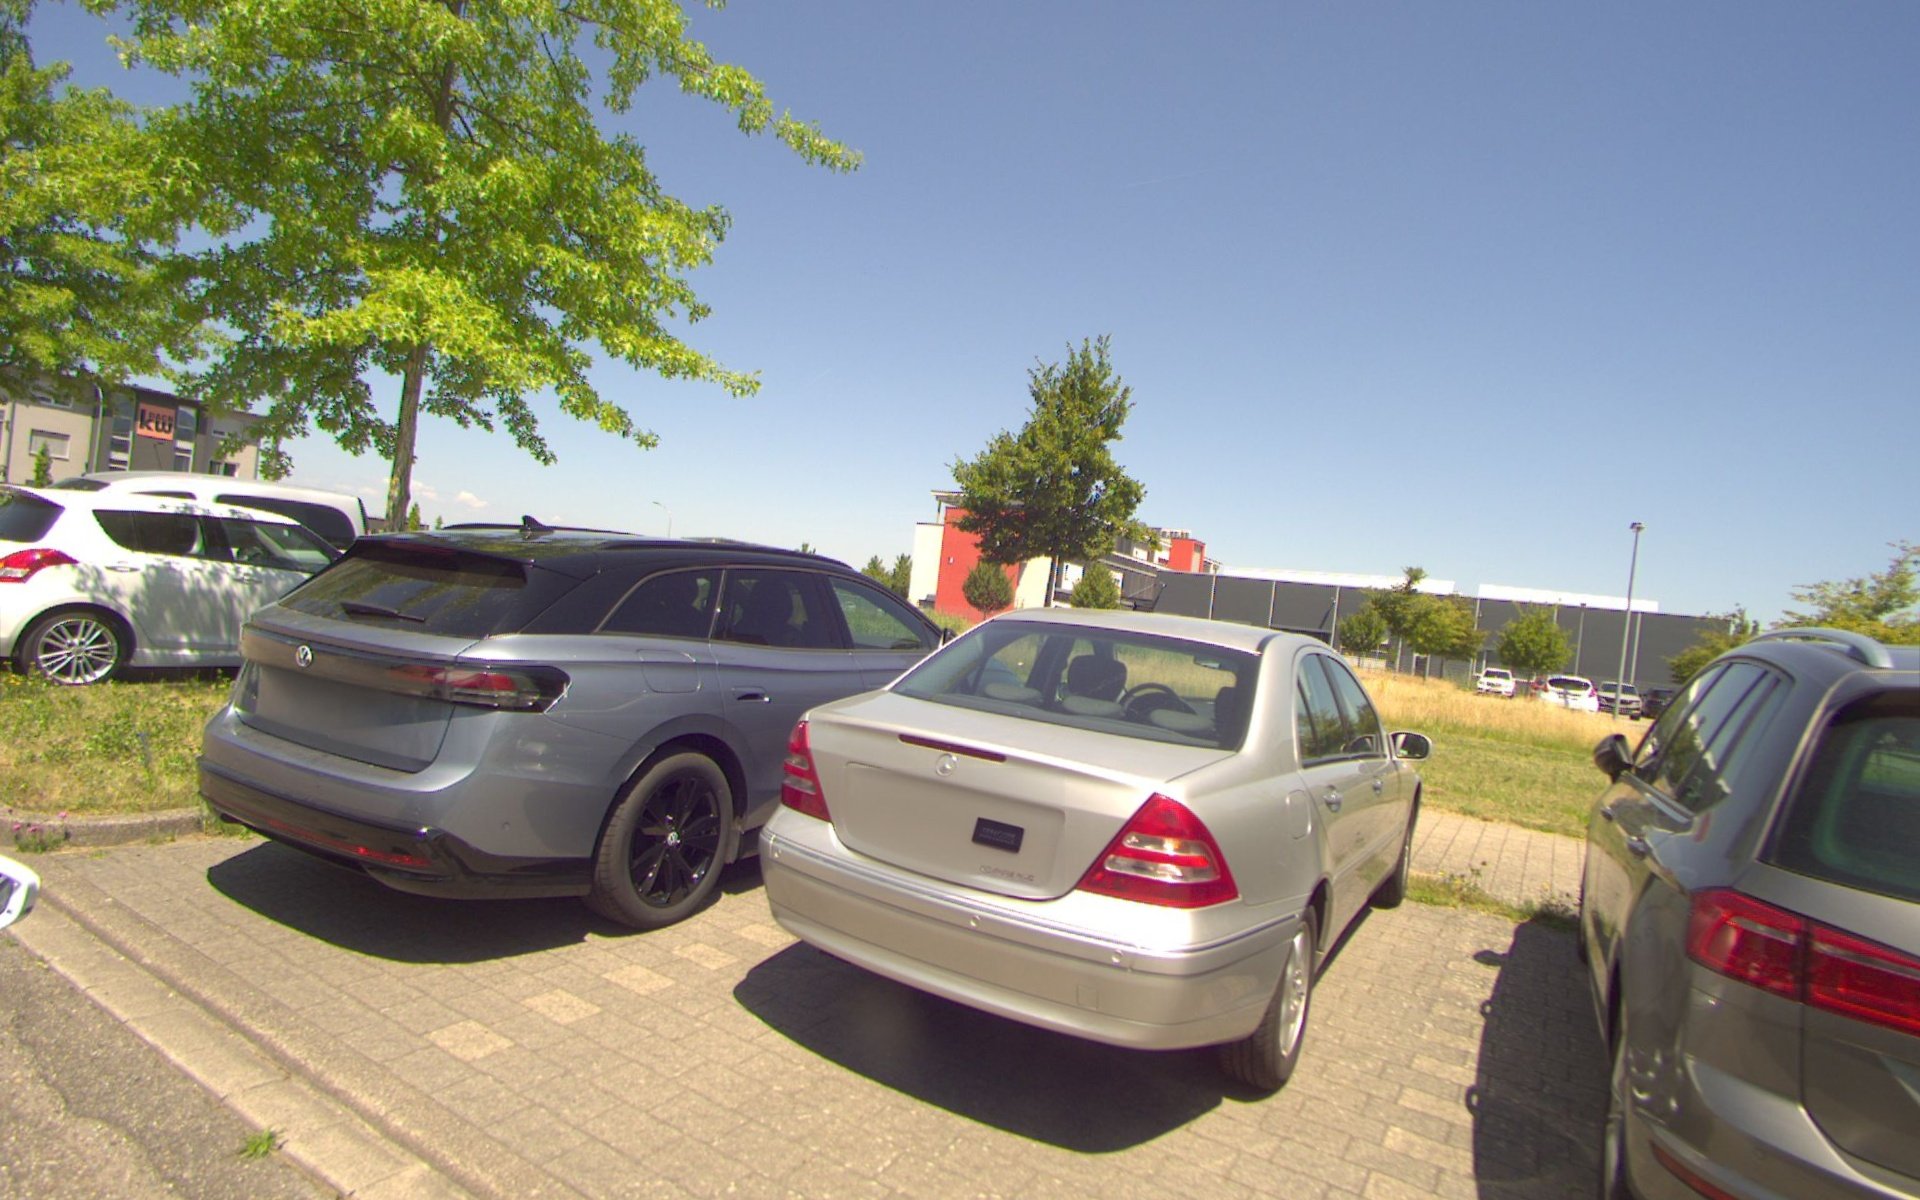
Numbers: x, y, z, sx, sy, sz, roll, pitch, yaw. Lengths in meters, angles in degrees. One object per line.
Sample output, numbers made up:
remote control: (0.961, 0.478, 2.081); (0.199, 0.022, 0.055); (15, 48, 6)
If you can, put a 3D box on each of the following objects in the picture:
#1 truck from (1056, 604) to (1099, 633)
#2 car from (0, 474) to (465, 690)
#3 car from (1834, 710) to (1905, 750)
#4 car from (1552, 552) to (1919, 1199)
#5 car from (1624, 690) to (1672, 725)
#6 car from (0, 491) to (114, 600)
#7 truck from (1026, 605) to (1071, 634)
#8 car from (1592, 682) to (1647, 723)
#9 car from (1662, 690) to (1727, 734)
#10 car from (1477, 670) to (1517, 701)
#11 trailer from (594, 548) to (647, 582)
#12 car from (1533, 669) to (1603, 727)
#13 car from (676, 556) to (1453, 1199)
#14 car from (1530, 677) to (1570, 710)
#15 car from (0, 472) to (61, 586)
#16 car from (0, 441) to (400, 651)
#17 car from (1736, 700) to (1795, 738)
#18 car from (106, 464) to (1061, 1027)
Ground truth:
truck: (9.768, 1.562, 83.430); (1.966, 2.039, 3.992); (7, 0, 30)
car: (-6.603, -0.123, 8.855); (1.648, 1.522, 3.633); (6, 1, 32)
car: (44.731, 6.358, 49.573); (1.690, 1.528, 3.992); (7, 0, 31)
car: (2.963, 0.896, 3.207); (1.665, 1.646, 4.049); (7, 1, 31)
car: (36.668, 5.698, 53.697); (1.690, 1.528, 3.992); (7, 0, 31)
car: (-14.134, -0.872, 13.789); (1.725, 1.435, 3.460); (6, 1, 31)
truck: (7.452, 1.668, 84.493); (1.966, 2.039, 4.348); (7, 0, 30)
car: (29.751, 4.587, 45.481); (1.690, 1.528, 3.993); (7, 0, 30)
car: (31.973, 4.828, 43.858); (1.690, 1.528, 3.993); (7, 0, 30)
car: (30.711, 4.851, 57.517); (1.690, 1.470, 3.992); (7, 0, 31)
trailer: (-31.339, -3.212, 92.918); (2.195, 2.632, 3.993); (7, 0, 30)
car: (19.382, 3.093, 32.112); (1.690, 1.528, 3.327); (7, 0, 31)
car: (0.941, 0.764, 4.321); (1.618, 1.471, 4.049); (7, 1, 31)
car: (32.858, 5.152, 56.017); (1.690, 1.528, 3.992); (7, 0, 31)
car: (-16.061, -1.243, 14.775); (1.752, 1.699, 3.878); (6, 1, 31)
car: (-8.603, -0.497, 10.539); (1.766, 1.853, 4.405); (6, 1, 32)
car: (41.019, 6.008, 51.312); (1.690, 1.528, 3.992); (7, 0, 31)
car: (-1.263, 0.458, 5.450); (1.880, 1.581, 4.723); (6, 1, 27)
